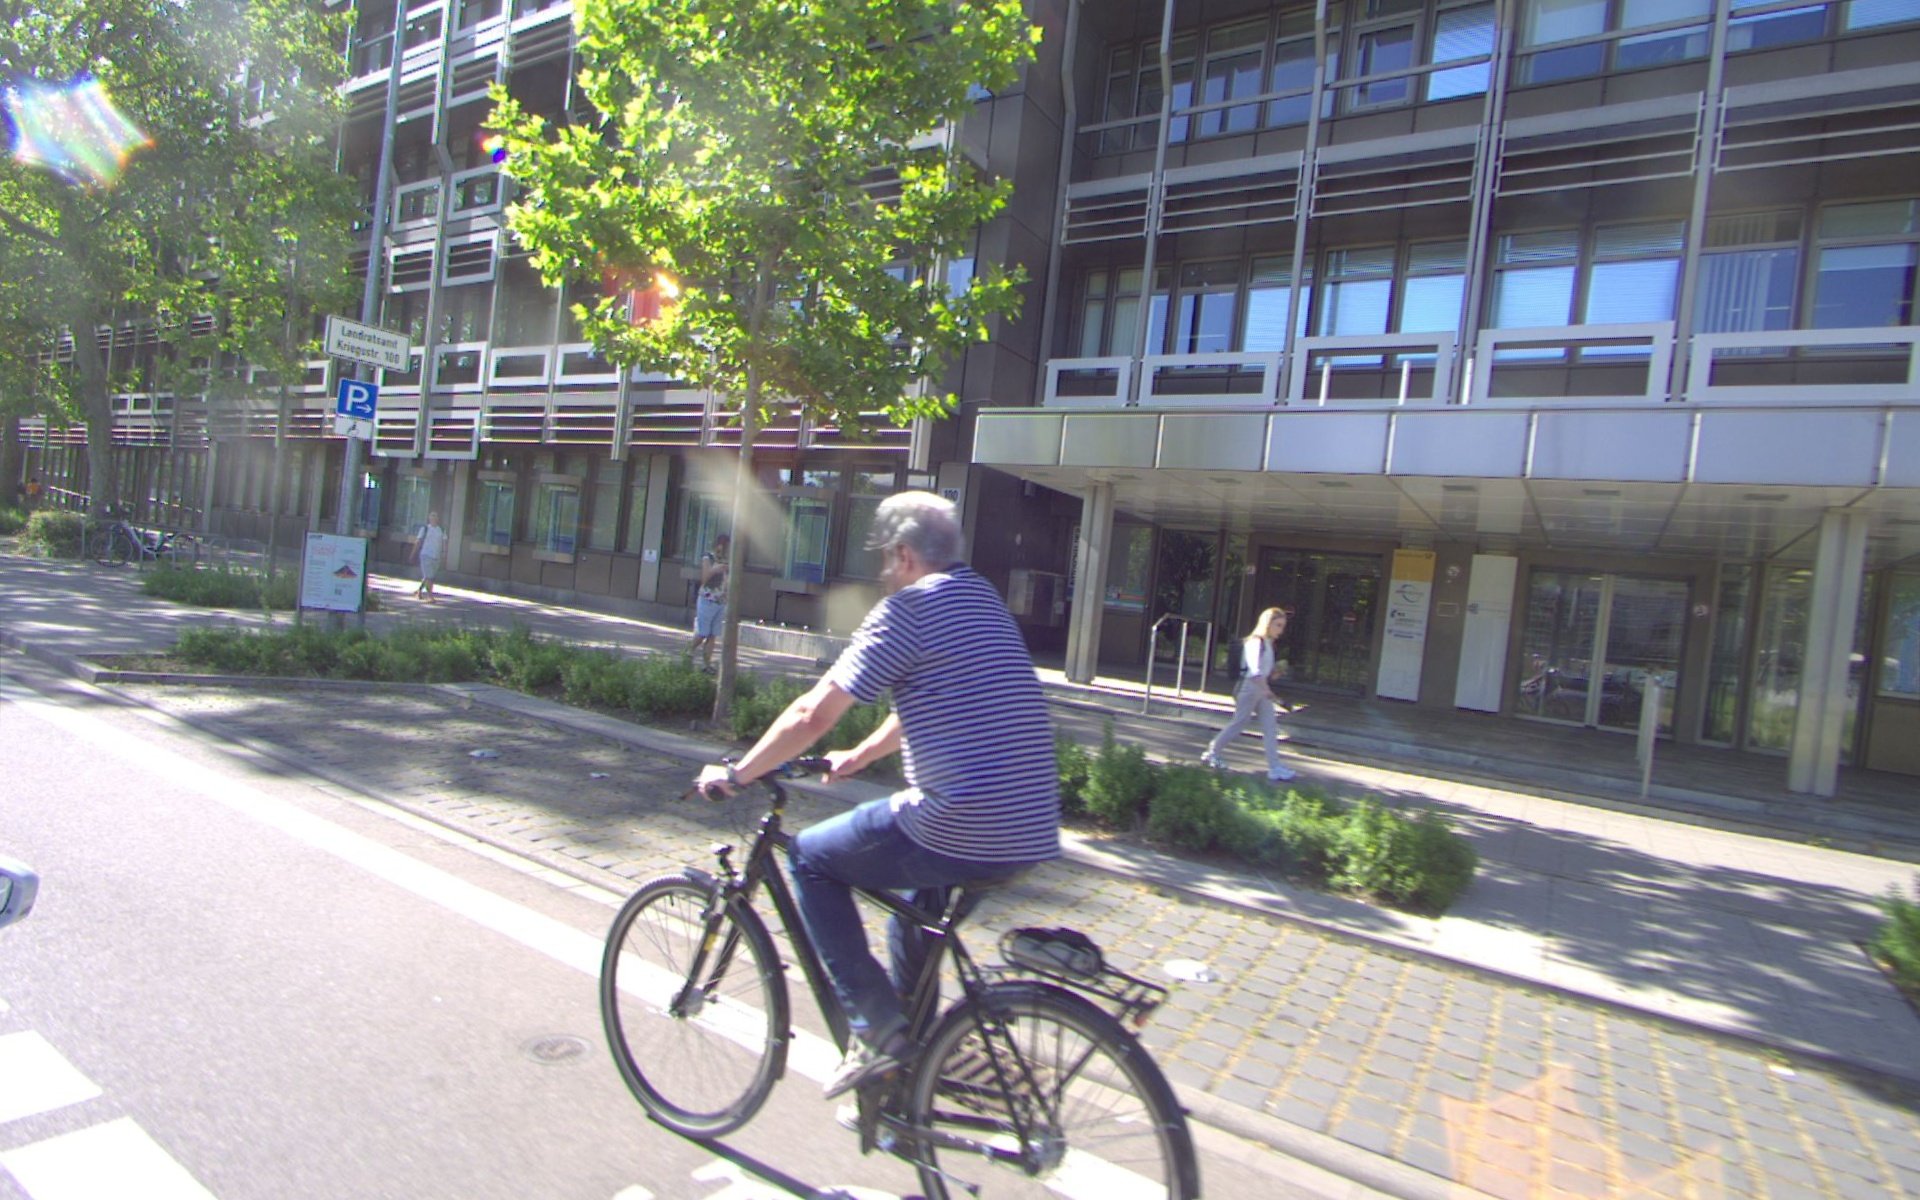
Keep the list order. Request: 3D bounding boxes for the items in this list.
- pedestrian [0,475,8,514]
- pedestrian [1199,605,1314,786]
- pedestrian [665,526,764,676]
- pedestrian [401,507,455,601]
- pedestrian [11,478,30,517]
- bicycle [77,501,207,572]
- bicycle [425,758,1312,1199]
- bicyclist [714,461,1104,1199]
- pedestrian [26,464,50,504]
[{"bbox_3d":[-40.482,-4.470,42.202,0.624,1.604,0.506,7,1,25],"label":"pedestrian"},{"bbox_3d":[2.668,0.838,9.052,0.724,1.494,0.511,7,3,33],"label":"pedestrian"},{"bbox_3d":[-3.052,0.018,12.508,0.790,1.749,0.648,7,1,33],"label":"pedestrian"},{"bbox_3d":[-10.252,-0.880,19.379,0.761,1.724,0.510,7,3,33],"label":"pedestrian"},{"bbox_3d":[-40.071,-4.372,42.889,0.492,1.604,0.315,7,1,25],"label":"pedestrian"},{"bbox_3d":[-16.426,-1.247,20.254,0.569,1.254,1.937,7,3,31],"label":"bicycle"},{"bbox_3d":[-0.358,1.034,2.445,2.159,0.916,0.499,6,-1,29],"label":"bicycle"},{"bbox_3d":[-0.101,0.547,2.296,0.527,1.621,0.513,7,1,29],"label":"bicyclist"},{"bbox_3d":[-39.722,-4.983,43.346,0.564,1.623,0.553,7,1,34],"label":"pedestrian"}]
